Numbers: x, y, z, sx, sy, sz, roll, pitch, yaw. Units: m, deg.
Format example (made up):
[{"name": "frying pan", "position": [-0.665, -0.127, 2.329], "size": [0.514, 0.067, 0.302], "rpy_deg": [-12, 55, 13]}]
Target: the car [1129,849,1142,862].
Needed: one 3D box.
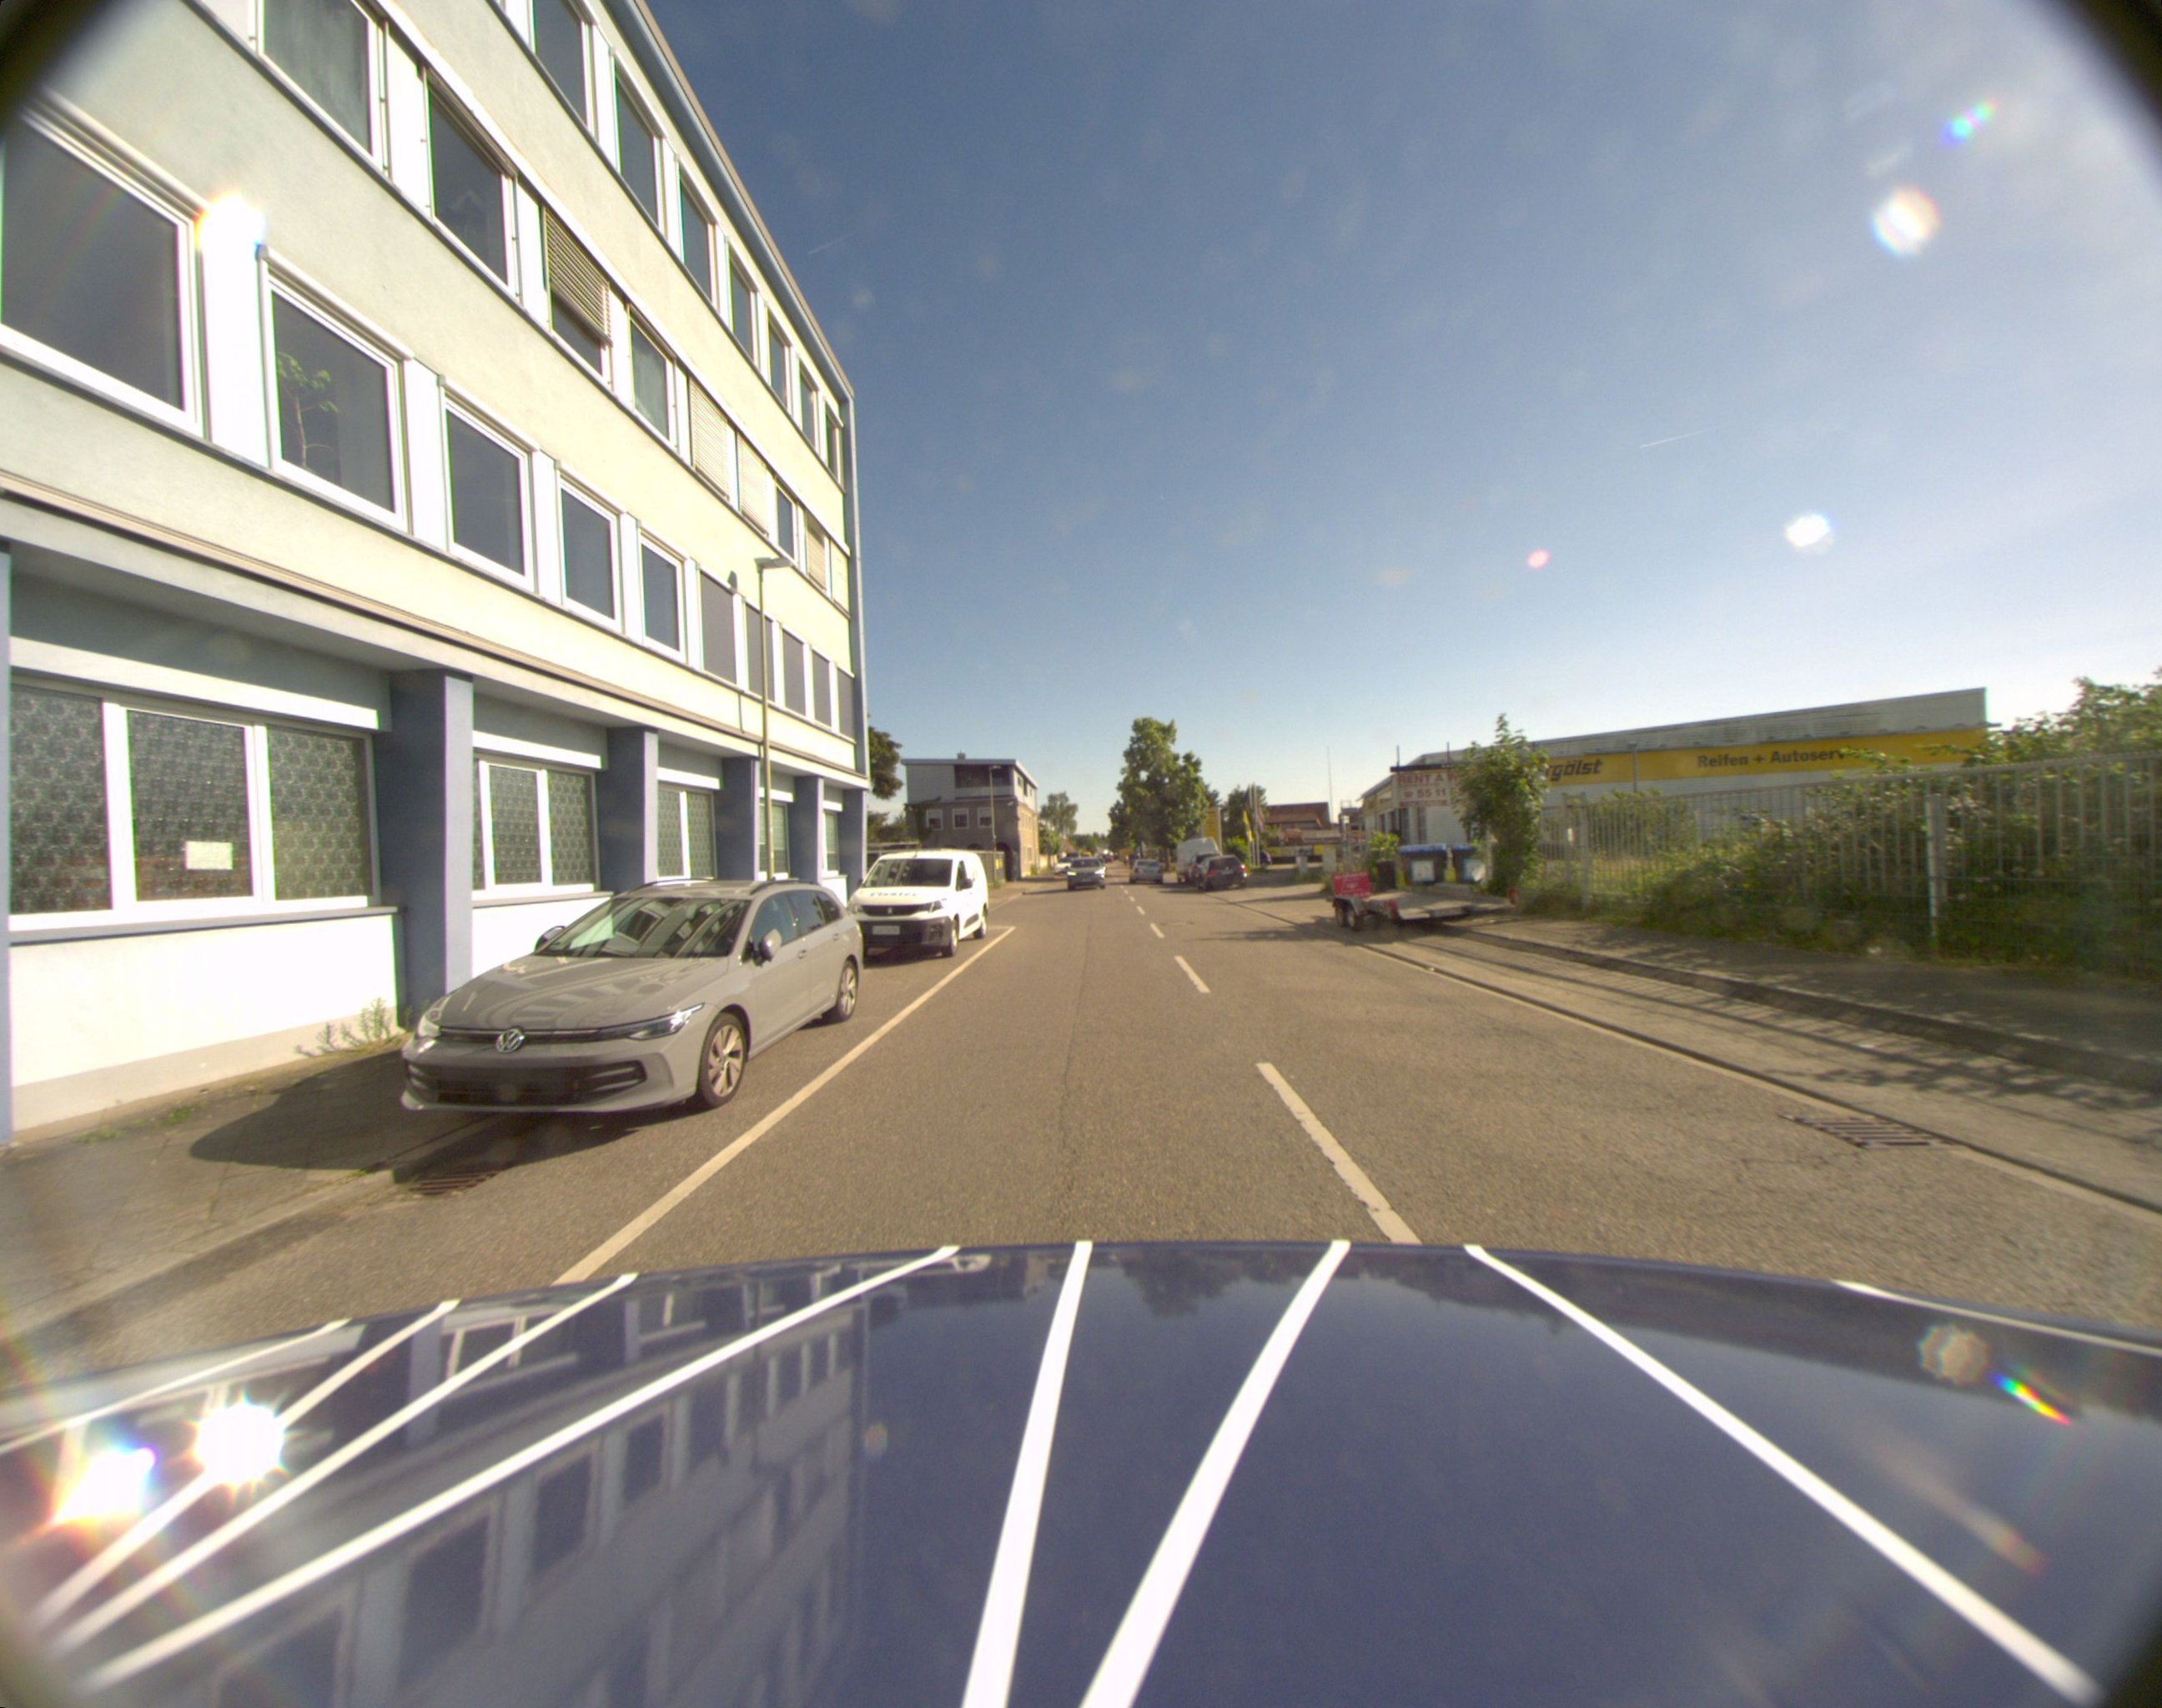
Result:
[{"name": "car", "position": [8.438, 0.288, 117.702], "size": [1.779, 1.838, 4.616], "rpy_deg": [-5, 0, 4]}]

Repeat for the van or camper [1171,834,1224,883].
[{"name": "van or camper", "position": [6.898, 0.236, 45.643], "size": [2.075, 2.534, 6.404], "rpy_deg": [-6, 0, 1]}]

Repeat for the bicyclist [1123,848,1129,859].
[{"name": "bicyclist", "position": [6.483, -0.121, 108.571], "size": [0.841, 1.533, 1.137], "rpy_deg": [1, 1, 4]}]

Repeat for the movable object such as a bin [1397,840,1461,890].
[{"name": "movable object such as a bin", "position": [10.467, 0.341, 22.864], "size": [1.620, 1.397, 1.097], "rpy_deg": [-3, 1, 29]}]

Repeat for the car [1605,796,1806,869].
[{"name": "car", "position": [23.615, -0.767, 29.031], "size": [5.446, 2.392, 2.208], "rpy_deg": [-3, 1, 18]}]

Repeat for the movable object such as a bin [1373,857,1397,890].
[{"name": "movable object such as a bin", "position": [9.480, 0.601, 23.648], "size": [0.615, 0.967, 0.750], "rpy_deg": [-2, 2, 26]}]

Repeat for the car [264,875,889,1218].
[{"name": "car", "position": [-3.300, 1.090, 6.555], "size": [1.894, 1.551, 5.090], "rpy_deg": [-3, 0, 0]}]

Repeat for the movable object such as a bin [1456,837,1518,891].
[{"name": "movable object such as a bin", "position": [11.680, 0.282, 21.860], "size": [1.462, 1.434, 1.097], "rpy_deg": [-3, 1, 29]}]

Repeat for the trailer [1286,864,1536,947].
[{"name": "trailer", "position": [6.218, 0.882, 15.505], "size": [2.382, 1.073, 6.246], "rpy_deg": [-6, -1, 1]}]

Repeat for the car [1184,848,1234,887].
[{"name": "car", "position": [6.681, 0.649, 40.099], "size": [1.998, 1.728, 4.576], "rpy_deg": [-6, 0, 4]}]

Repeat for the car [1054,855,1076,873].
[{"name": "car", "position": [-1.475, 0.913, 73.088], "size": [1.937, 1.635, 4.769], "rpy_deg": [-2, 0, 0]}]

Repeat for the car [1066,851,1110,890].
[{"name": "car", "position": [0.362, 0.789, 38.750], "size": [1.998, 1.750, 5.016], "rpy_deg": [-3, 0, 1]}]

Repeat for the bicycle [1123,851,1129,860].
[{"name": "bicycle", "position": [6.473, 0.241, 108.578], "size": [0.841, 1.232, 2.604], "rpy_deg": [1, 1, 4]}]

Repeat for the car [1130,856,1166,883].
[{"name": "car", "position": [3.906, 0.858, 45.000], "size": [1.751, 1.439, 4.360], "rpy_deg": [-2, 0, 1]}]

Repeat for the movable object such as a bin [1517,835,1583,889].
[{"name": "movable object such as a bin", "position": [12.966, 0.223, 21.083], "size": [1.462, 1.397, 1.097], "rpy_deg": [-3, 1, 29]}]

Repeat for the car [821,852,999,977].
[{"name": "car", "position": [-2.915, 0.931, 14.257], "size": [1.894, 1.821, 5.091], "rpy_deg": [-3, 0, 3]}]

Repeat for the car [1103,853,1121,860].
[{"name": "car", "position": [6.467, 0.535, 159.248], "size": [1.871, 1.412, 4.538], "rpy_deg": [-1, 0, 28]}]

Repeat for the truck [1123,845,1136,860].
[{"name": "truck", "position": [9.537, -0.373, 149.286], "size": [2.173, 2.698, 5.749], "rpy_deg": [-4, 1, 2]}]

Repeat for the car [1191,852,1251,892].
[{"name": "car", "position": [6.326, 0.759, 34.826], "size": [1.804, 1.501, 5.003], "rpy_deg": [-6, 0, 2]}]

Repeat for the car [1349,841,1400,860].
[{"name": "car", "position": [28.304, -0.368, 73.520], "size": [4.325, 1.645, 2.002], "rpy_deg": [-3, 0, 14]}]
